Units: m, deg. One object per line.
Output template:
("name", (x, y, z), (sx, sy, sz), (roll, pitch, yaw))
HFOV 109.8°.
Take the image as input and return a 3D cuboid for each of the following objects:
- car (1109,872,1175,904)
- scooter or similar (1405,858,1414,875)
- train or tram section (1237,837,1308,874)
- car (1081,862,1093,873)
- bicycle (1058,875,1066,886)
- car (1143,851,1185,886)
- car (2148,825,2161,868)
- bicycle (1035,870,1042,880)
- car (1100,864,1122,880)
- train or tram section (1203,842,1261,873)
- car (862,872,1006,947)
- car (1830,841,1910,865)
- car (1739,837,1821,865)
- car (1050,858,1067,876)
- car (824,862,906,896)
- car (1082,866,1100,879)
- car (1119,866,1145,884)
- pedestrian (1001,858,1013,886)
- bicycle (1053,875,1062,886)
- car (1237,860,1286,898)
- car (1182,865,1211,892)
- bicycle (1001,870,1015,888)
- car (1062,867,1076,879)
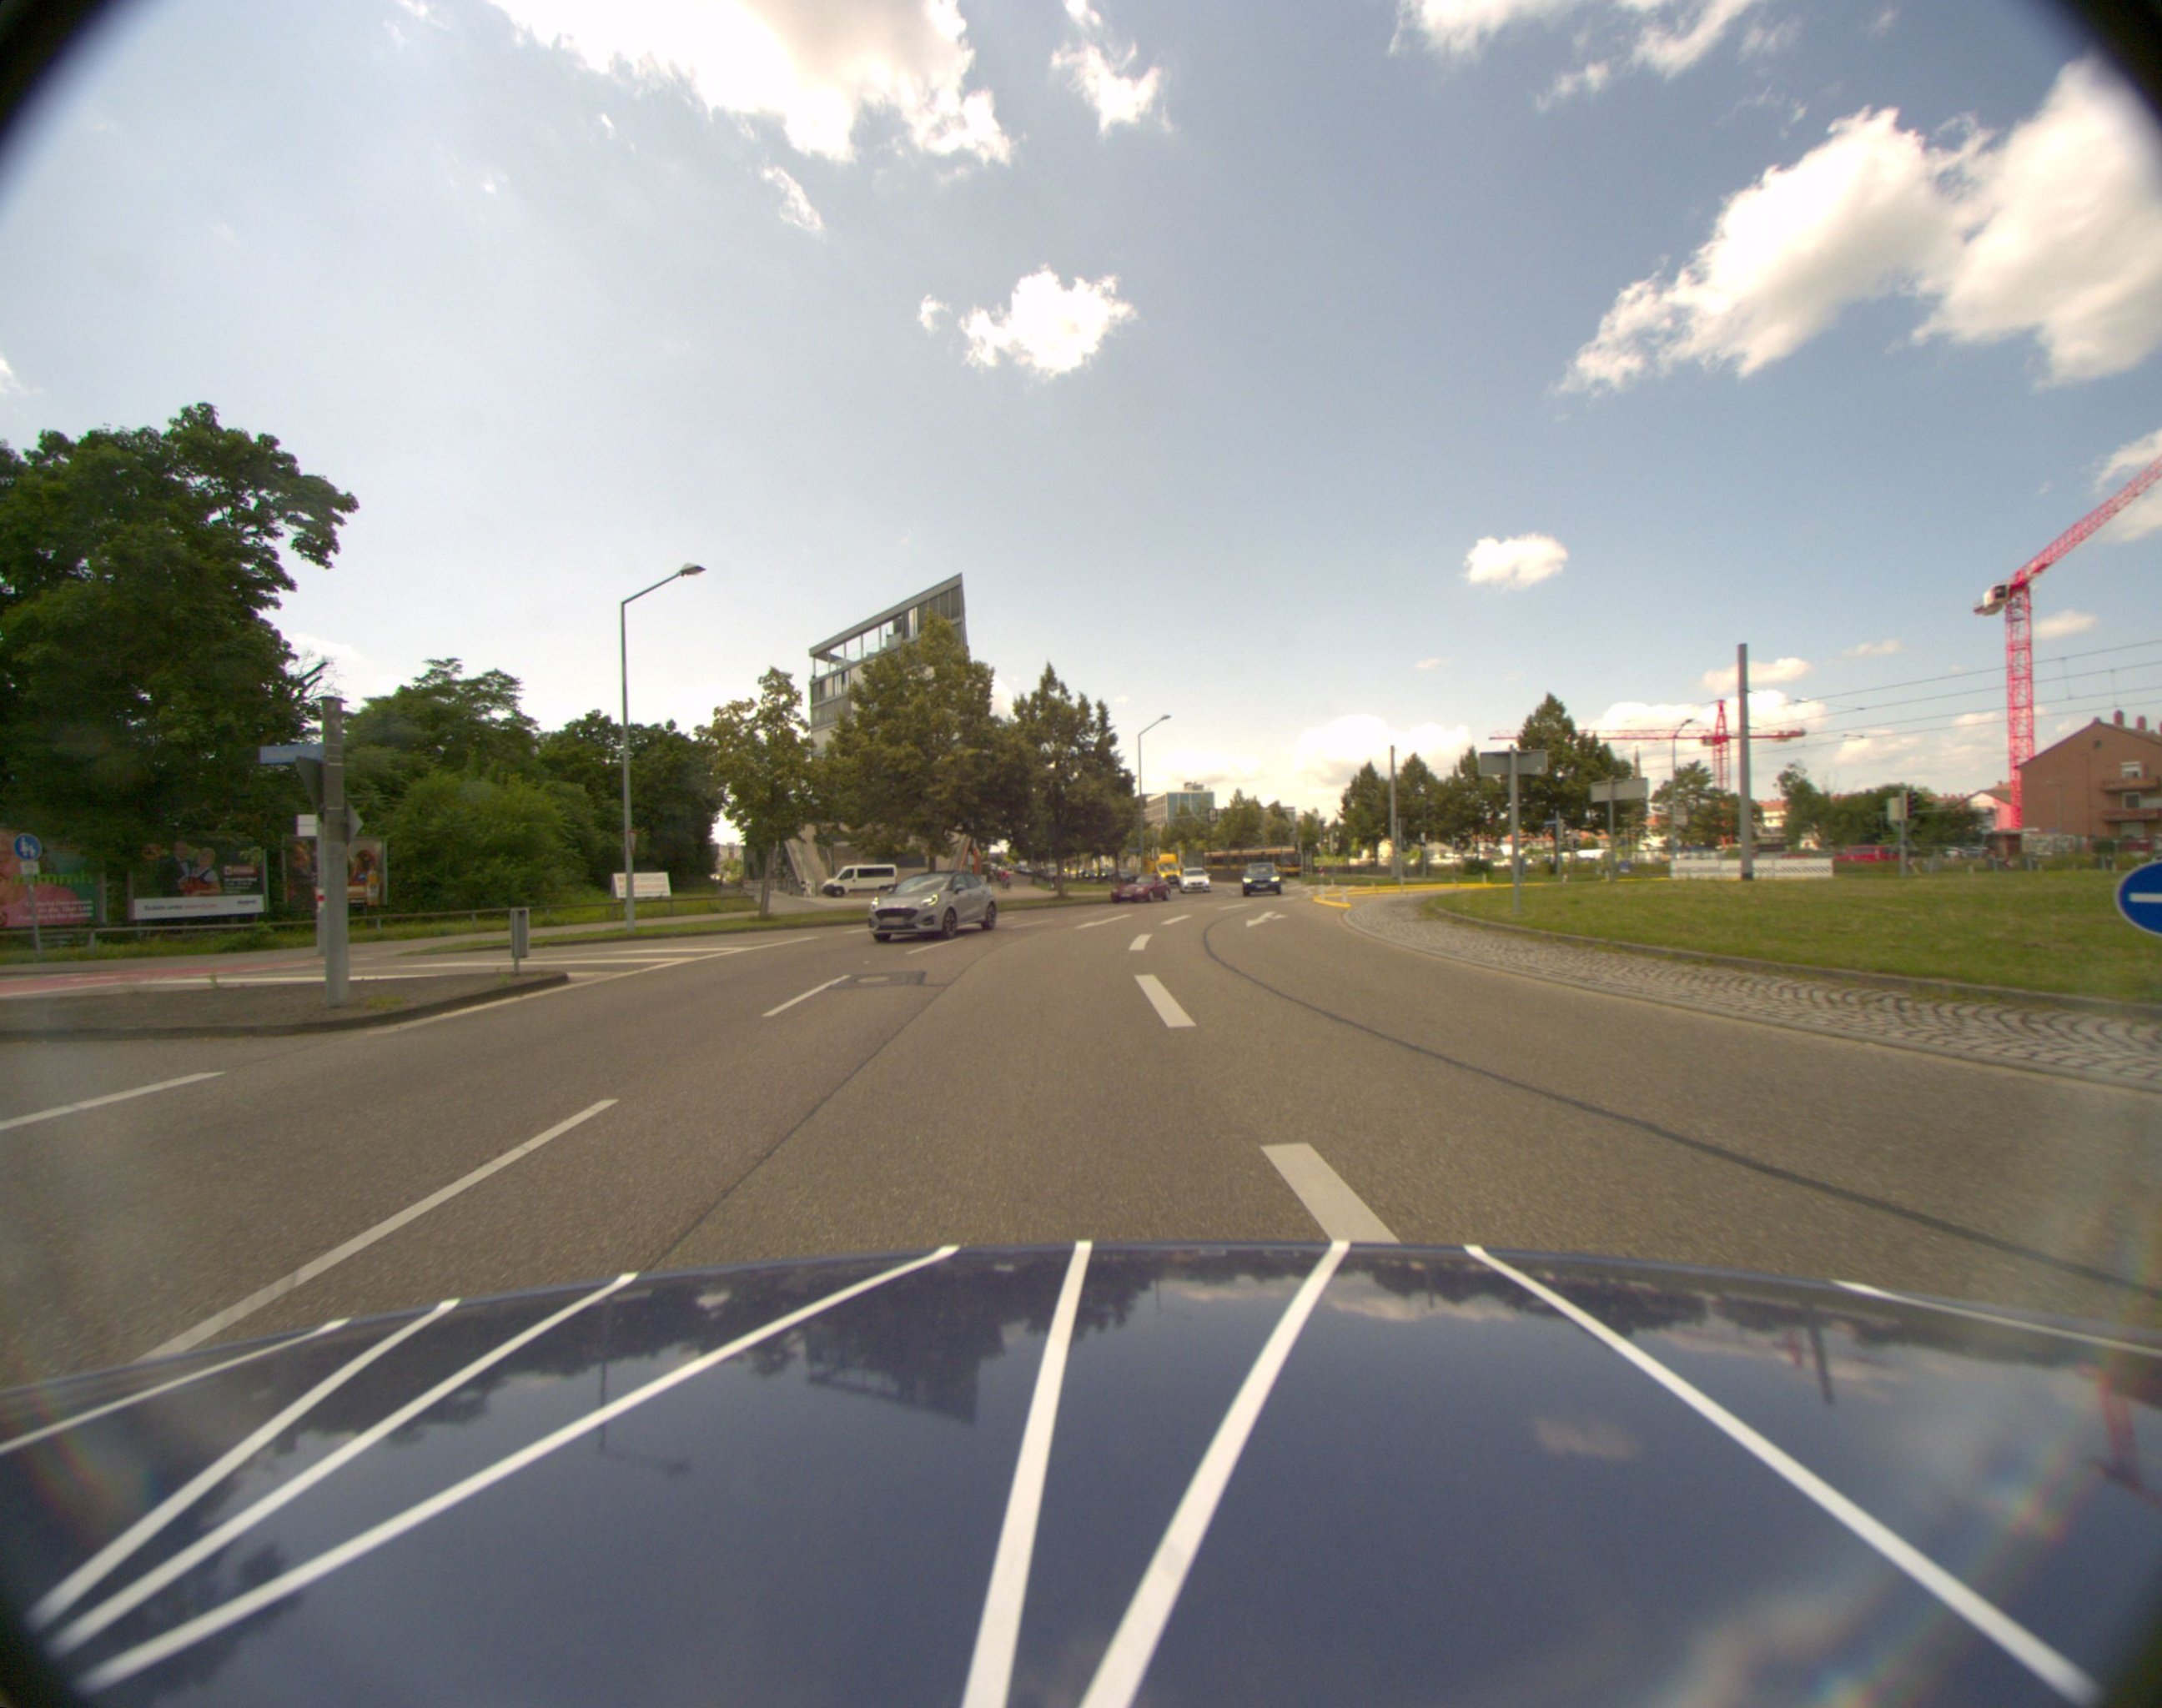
("car", (2.859, 1.527, 34.686), (1.671, 1.254, 4.100), (-3, -1, 25))
("scooter or similar", (27.308, 1.039, 63.167), (0.418, 1.295, 1.347), (-2, 2, 14))
("train or tram section", (20.862, 0.246, 83.847), (2.851, 3.717, 13.470), (-2, -1, -7))
("car", (1.070, 2.619, 144.970), (1.999, 2.002, 3.999), (-3, 0, -2))
("bicycle", (-1.451, 2.013, 57.414), (0.358, 0.821, 1.472), (-2, -1, -12))
("car", (7.033, 1.215, 65.482), (2.285, 2.836, 7.253), (-2, 0, -4))
("car", (44.811, -0.375, 28.761), (2.004, 1.664, 5.058), (-1, -1, -35))
("bicycle", (-4.660, 2.246, 82.481), (0.516, 1.082, 1.747), (-1, -1, -10))
("car", (3.636, 2.155, 93.329), (1.999, 1.751, 4.294), (-3, 0, -5))
("train or tram section", (19.163, 0.562, 97.784), (2.695, 3.616, 14.657), (-2, -1, -7))
("car", (-3.318, 1.220, 18.012), (1.672, 1.462, 4.097), (-2, 0, 15))
("car", (66.420, -0.058, 64.098), (2.084, 1.841, 5.190), (-2, -1, 13))
("car", (59.525, -0.193, 64.880), (2.390, 2.184, 6.848), (-2, -1, 17))
("car", (-3.154, 1.742, 104.075), (2.161, 2.380, 6.277), (-3, 0, -2))
("car", (-15.096, 1.719, 53.027), (5.158, 2.135, 2.145), (-2, -1, -26))
("car", (1.403, 2.622, 109.341), (1.999, 1.681, 4.294), (-3, 0, -5))
("car", (5.385, 2.244, 80.999), (1.999, 1.751, 4.294), (-3, 0, -5))
("pedestrian", (-5.393, 1.338, 55.602), (0.755, 2.002, 1.231), (-2, 0, -8))
("bicycle", (-1.782, 2.035, 57.730), (0.358, 0.821, 1.472), (-2, -1, -12))
("car", (8.911, 1.204, 37.768), (1.773, 1.589, 4.129), (-3, 0, 6))
("car", (7.431, 1.534, 49.186), (1.673, 1.589, 4.130), (-2, 0, 6))
("bicycle", (-5.305, 1.801, 55.310), (0.812, 1.237, 2.409), (-2, 0, -9))
("car", (-1.731, 2.744, 110.381), (1.823, 1.641, 3.999), (-3, 0, -2))
